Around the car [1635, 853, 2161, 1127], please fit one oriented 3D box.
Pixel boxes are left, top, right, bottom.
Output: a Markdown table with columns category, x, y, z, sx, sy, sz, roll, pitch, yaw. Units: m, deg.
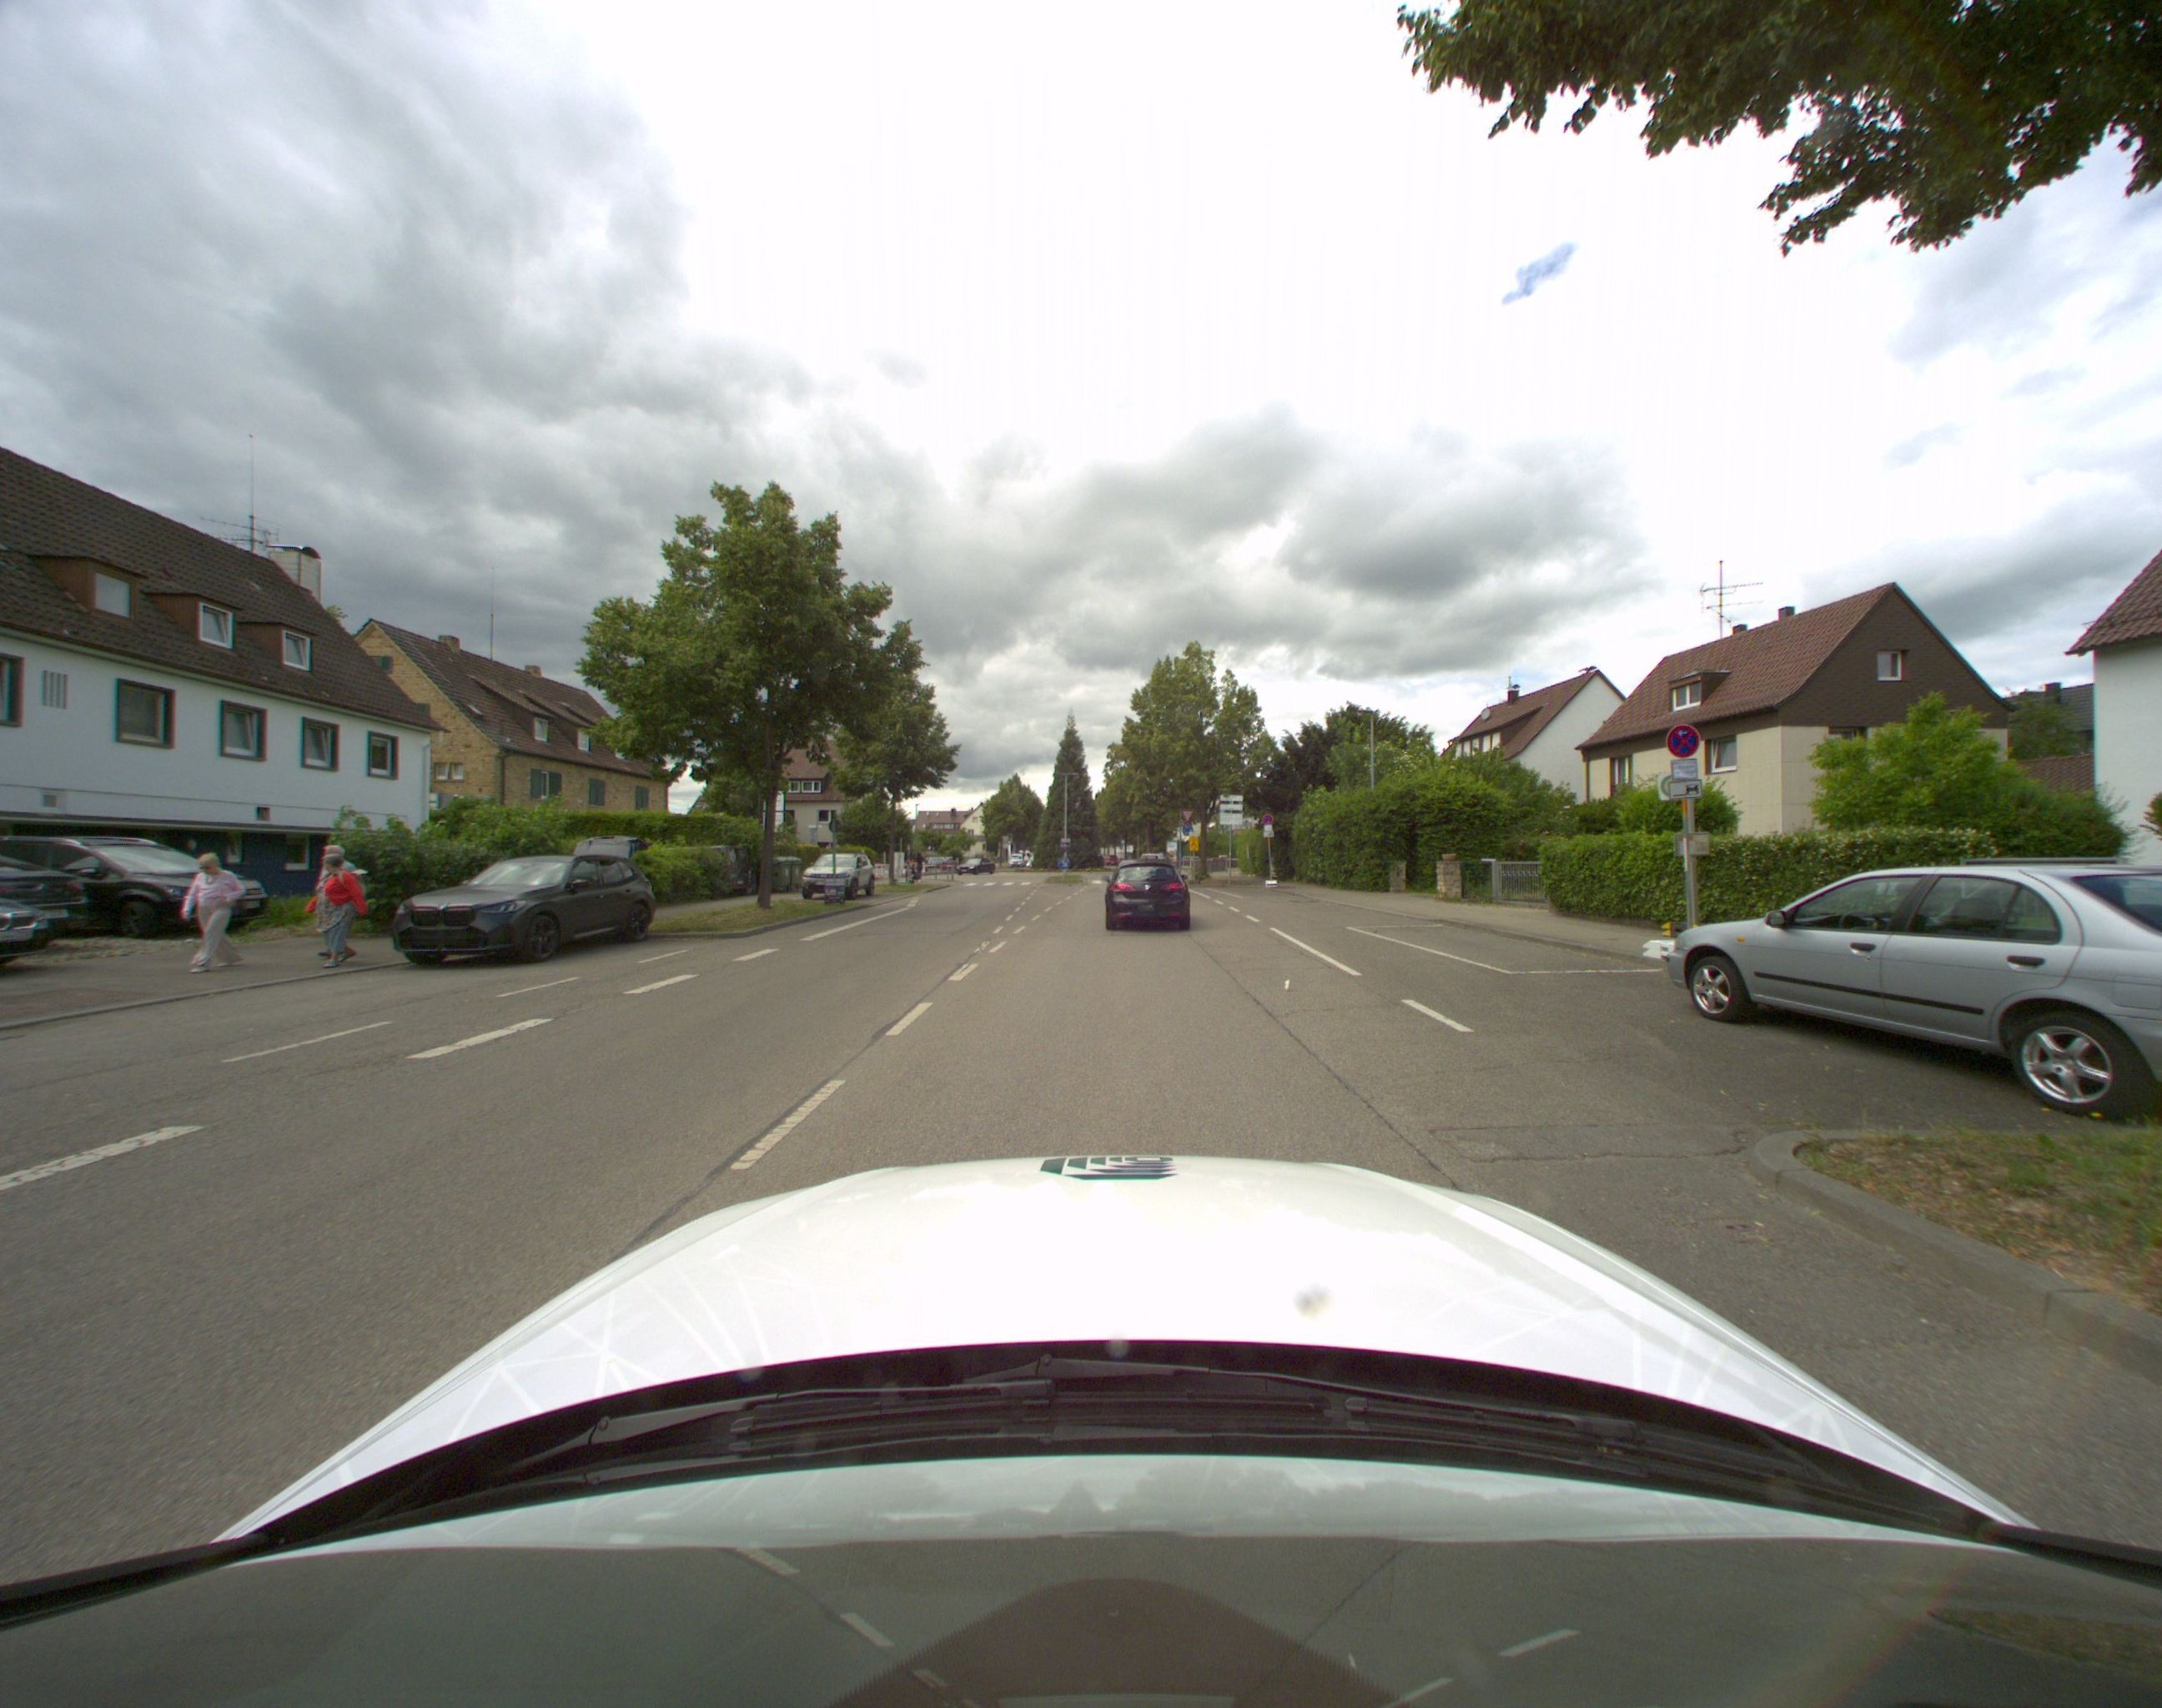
| category | x | y | z | sx | sy | sz | roll | pitch | yaw |
| --- | --- | --- | --- | --- | --- | --- | --- | --- | --- |
| car | 6.252 | 0.717 | 5.850 | 1.606 | 1.377 | 4.387 | -1 | -1 | 1 |

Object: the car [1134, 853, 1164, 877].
| category | x | y | z | sx | sy | sz | roll | pitch | yaw |
| --- | --- | --- | --- | --- | --- | --- | --- | --- | --- |
| car | 4.677 | 0.726 | 56.673 | 1.985 | 1.613 | 4.003 | 0 | 0 | 3 |

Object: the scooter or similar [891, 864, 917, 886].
| category | x | y | z | sx | sy | sz | roll | pitch | yaw |
| --- | --- | --- | --- | --- | --- | --- | --- | --- | --- |
| scooter or similar | -9.279 | 1.106 | 42.742 | 1.292 | 1.139 | 0.344 | -1 | 0 | -31 |

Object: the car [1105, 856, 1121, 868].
| category | x | y | z | sx | sy | sz | roll | pitch | yaw |
| --- | --- | --- | --- | --- | --- | --- | --- | --- | --- |
| car | 4.239 | 1.038 | 109.248 | 1.474 | 1.489 | 3.371 | 0 | 0 | -9 |

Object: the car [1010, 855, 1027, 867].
| category | x | y | z | sx | sy | sz | roll | pitch | yaw |
| --- | --- | --- | --- | --- | --- | --- | --- | --- | --- |
| car | -8.241 | 0.912 | 107.752 | 1.792 | 1.601 | 4.000 | -1 | 0 | 0 |

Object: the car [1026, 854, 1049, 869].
| category | x | y | z | sx | sy | sz | roll | pitch | yaw |
| --- | --- | --- | --- | --- | --- | --- | --- | --- | --- |
| car | -4.821 | 0.831 | 90.096 | 1.860 | 1.560 | 4.266 | -1 | 0 | 6 |

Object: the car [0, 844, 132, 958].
| category | x | y | z | sx | sy | sz | roll | pitch | yaw |
| --- | --- | --- | --- | --- | --- | --- | --- | --- | --- |
| car | -16.468 | 0.579 | 11.378 | 3.981 | 1.482 | 1.788 | 2 | 0 | -6 |

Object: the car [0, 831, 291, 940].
| category | x | y | z | sx | sy | sz | roll | pitch | yaw |
| --- | --- | --- | --- | --- | --- | --- | --- | --- | --- |
| car | -16.568 | 0.493 | 14.284 | 3.961 | 1.690 | 1.876 | 0 | 3 | 11 |

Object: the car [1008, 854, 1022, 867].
| category | x | y | z | sx | sy | sz | roll | pitch | yaw |
| --- | --- | --- | --- | --- | --- | --- | --- | --- | --- |
| car | -10.176 | 0.946 | 125.893 | 2.024 | 1.970 | 3.997 | -1 | 0 | -2 |

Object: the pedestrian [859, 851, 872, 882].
| category | x | y | z | sx | sy | sz | roll | pitch | yaw |
| --- | --- | --- | --- | --- | --- | --- | --- | --- | --- |
| pedestrian | -12.644 | 0.730 | 47.782 | 0.565 | 1.784 | 0.534 | 0 | -1 | -39 |

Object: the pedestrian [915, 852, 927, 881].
| category | x | y | z | sx | sy | sz | roll | pitch | yaw |
| --- | --- | --- | --- | --- | --- | --- | --- | --- | --- |
| pedestrian | -9.310 | 0.725 | 47.356 | 0.485 | 1.669 | 0.510 | 0 | -1 | -33 |

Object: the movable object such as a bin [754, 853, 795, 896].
| category | x | y | z | sx | sy | sz | roll | pitch | yaw |
| --- | --- | --- | --- | --- | --- | --- | --- | --- | --- |
| movable object such as a bin | -12.378 | 0.815 | 32.919 | 1.202 | 1.651 | 0.997 | 2 | -1 | -2 |

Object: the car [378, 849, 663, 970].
| category | x | y | z | sx | sy | sz | roll | pitch | yaw |
| --- | --- | --- | --- | --- | --- | --- | --- | --- | --- |
| car | -9.161 | 0.791 | 13.902 | 1.719 | 1.725 | 4.563 | 0 | 0 | -1 |

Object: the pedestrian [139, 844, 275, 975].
| category | x | y | z | sx | sy | sz | roll | pitch | yaw |
| --- | --- | --- | --- | --- | --- | --- | --- | --- | --- |
| pedestrian | -11.829 | 0.730 | 11.057 | 0.786 | 1.663 | 0.880 | 3 | -1 | -6 |

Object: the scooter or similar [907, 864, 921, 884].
| category | x | y | z | sx | sy | sz | roll | pitch | yaw |
| --- | --- | --- | --- | --- | --- | --- | --- | --- | --- |
| scooter or similar | -9.819 | 1.174 | 47.901 | 0.409 | 1.095 | 0.959 | 2 | -1 | -39 |

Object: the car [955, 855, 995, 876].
| category | x | y | z | sx | sy | sz | roll | pitch | yaw |
| --- | --- | --- | --- | --- | --- | --- | --- | --- | --- |
| car | -8.715 | 0.958 | 67.055 | 1.554 | 1.634 | 3.642 | -1 | 0 | 24 |

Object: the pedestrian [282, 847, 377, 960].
| category | x | y | z | sx | sy | sz | roll | pitch | yaw |
| --- | --- | --- | --- | --- | --- | --- | --- | --- | --- |
| pedestrian | -11.515 | 0.746 | 12.501 | 0.786 | 1.663 | 0.590 | 3 | -1 | -6 |

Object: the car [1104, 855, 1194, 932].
| category | x | y | z | sx | sy | sz | roll | pitch | yaw |
| --- | --- | --- | --- | --- | --- | --- | --- | --- | --- |
| car | 1.387 | 0.776 | 17.902 | 1.726 | 1.486 | 4.001 | -1 | 0 | 2 |

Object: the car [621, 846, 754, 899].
| category | x | y | z | sx | sy | sz | roll | pitch | yaw |
| --- | --- | --- | --- | --- | --- | --- | --- | --- | --- |
| car | -14.703 | 0.670 | 30.560 | 3.973 | 1.891 | 2.000 | -1 | 0 | 1 |

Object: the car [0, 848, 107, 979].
| category | x | y | z | sx | sy | sz | roll | pitch | yaw |
| --- | --- | --- | --- | --- | --- | --- | --- | --- | --- |
| car | -15.082 | 0.669 | 9.381 | 4.522 | 1.554 | 2.025 | 1 | -1 | -16 |

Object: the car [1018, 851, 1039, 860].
| category | x | y | z | sx | sy | sz | roll | pitch | yaw |
| --- | --- | --- | --- | --- | --- | --- | --- | --- | --- |
| car | -11.197 | 0.342 | 173.062 | 3.954 | 1.970 | 2.046 | -1 | 0 | 19 |

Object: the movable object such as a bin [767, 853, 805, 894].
| category | x | y | z | sx | sy | sz | roll | pitch | yaw |
| --- | --- | --- | --- | --- | --- | --- | --- | --- | --- |
| movable object such as a bin | -12.532 | 0.824 | 34.600 | 1.202 | 1.651 | 0.997 | 2 | -1 | -2 |

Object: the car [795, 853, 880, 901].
| category | x | y | z | sx | sy | sz | roll | pitch | yaw |
| --- | --- | --- | --- | --- | --- | --- | --- | --- | --- |
| car | -8.947 | 0.792 | 30.293 | 1.854 | 1.653 | 4.294 | 0 | 0 | 0 |

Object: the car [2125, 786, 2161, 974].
| category | x | y | z | sx | sy | sz | roll | pitch | yaw |
| --- | --- | --- | --- | --- | --- | --- | --- | --- | --- |
| car | 12.485 | 0.230 | 7.230 | 3.976 | 1.823 | 1.999 | -1 | 0 | -2 |

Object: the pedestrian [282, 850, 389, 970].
| category | x | y | z | sx | sy | sz | roll | pitch | yaw |
| --- | --- | --- | --- | --- | --- | --- | --- | --- | --- |
| pedestrian | -10.749 | 0.790 | 11.771 | 0.786 | 1.663 | 0.753 | 2 | -1 | -6 |
